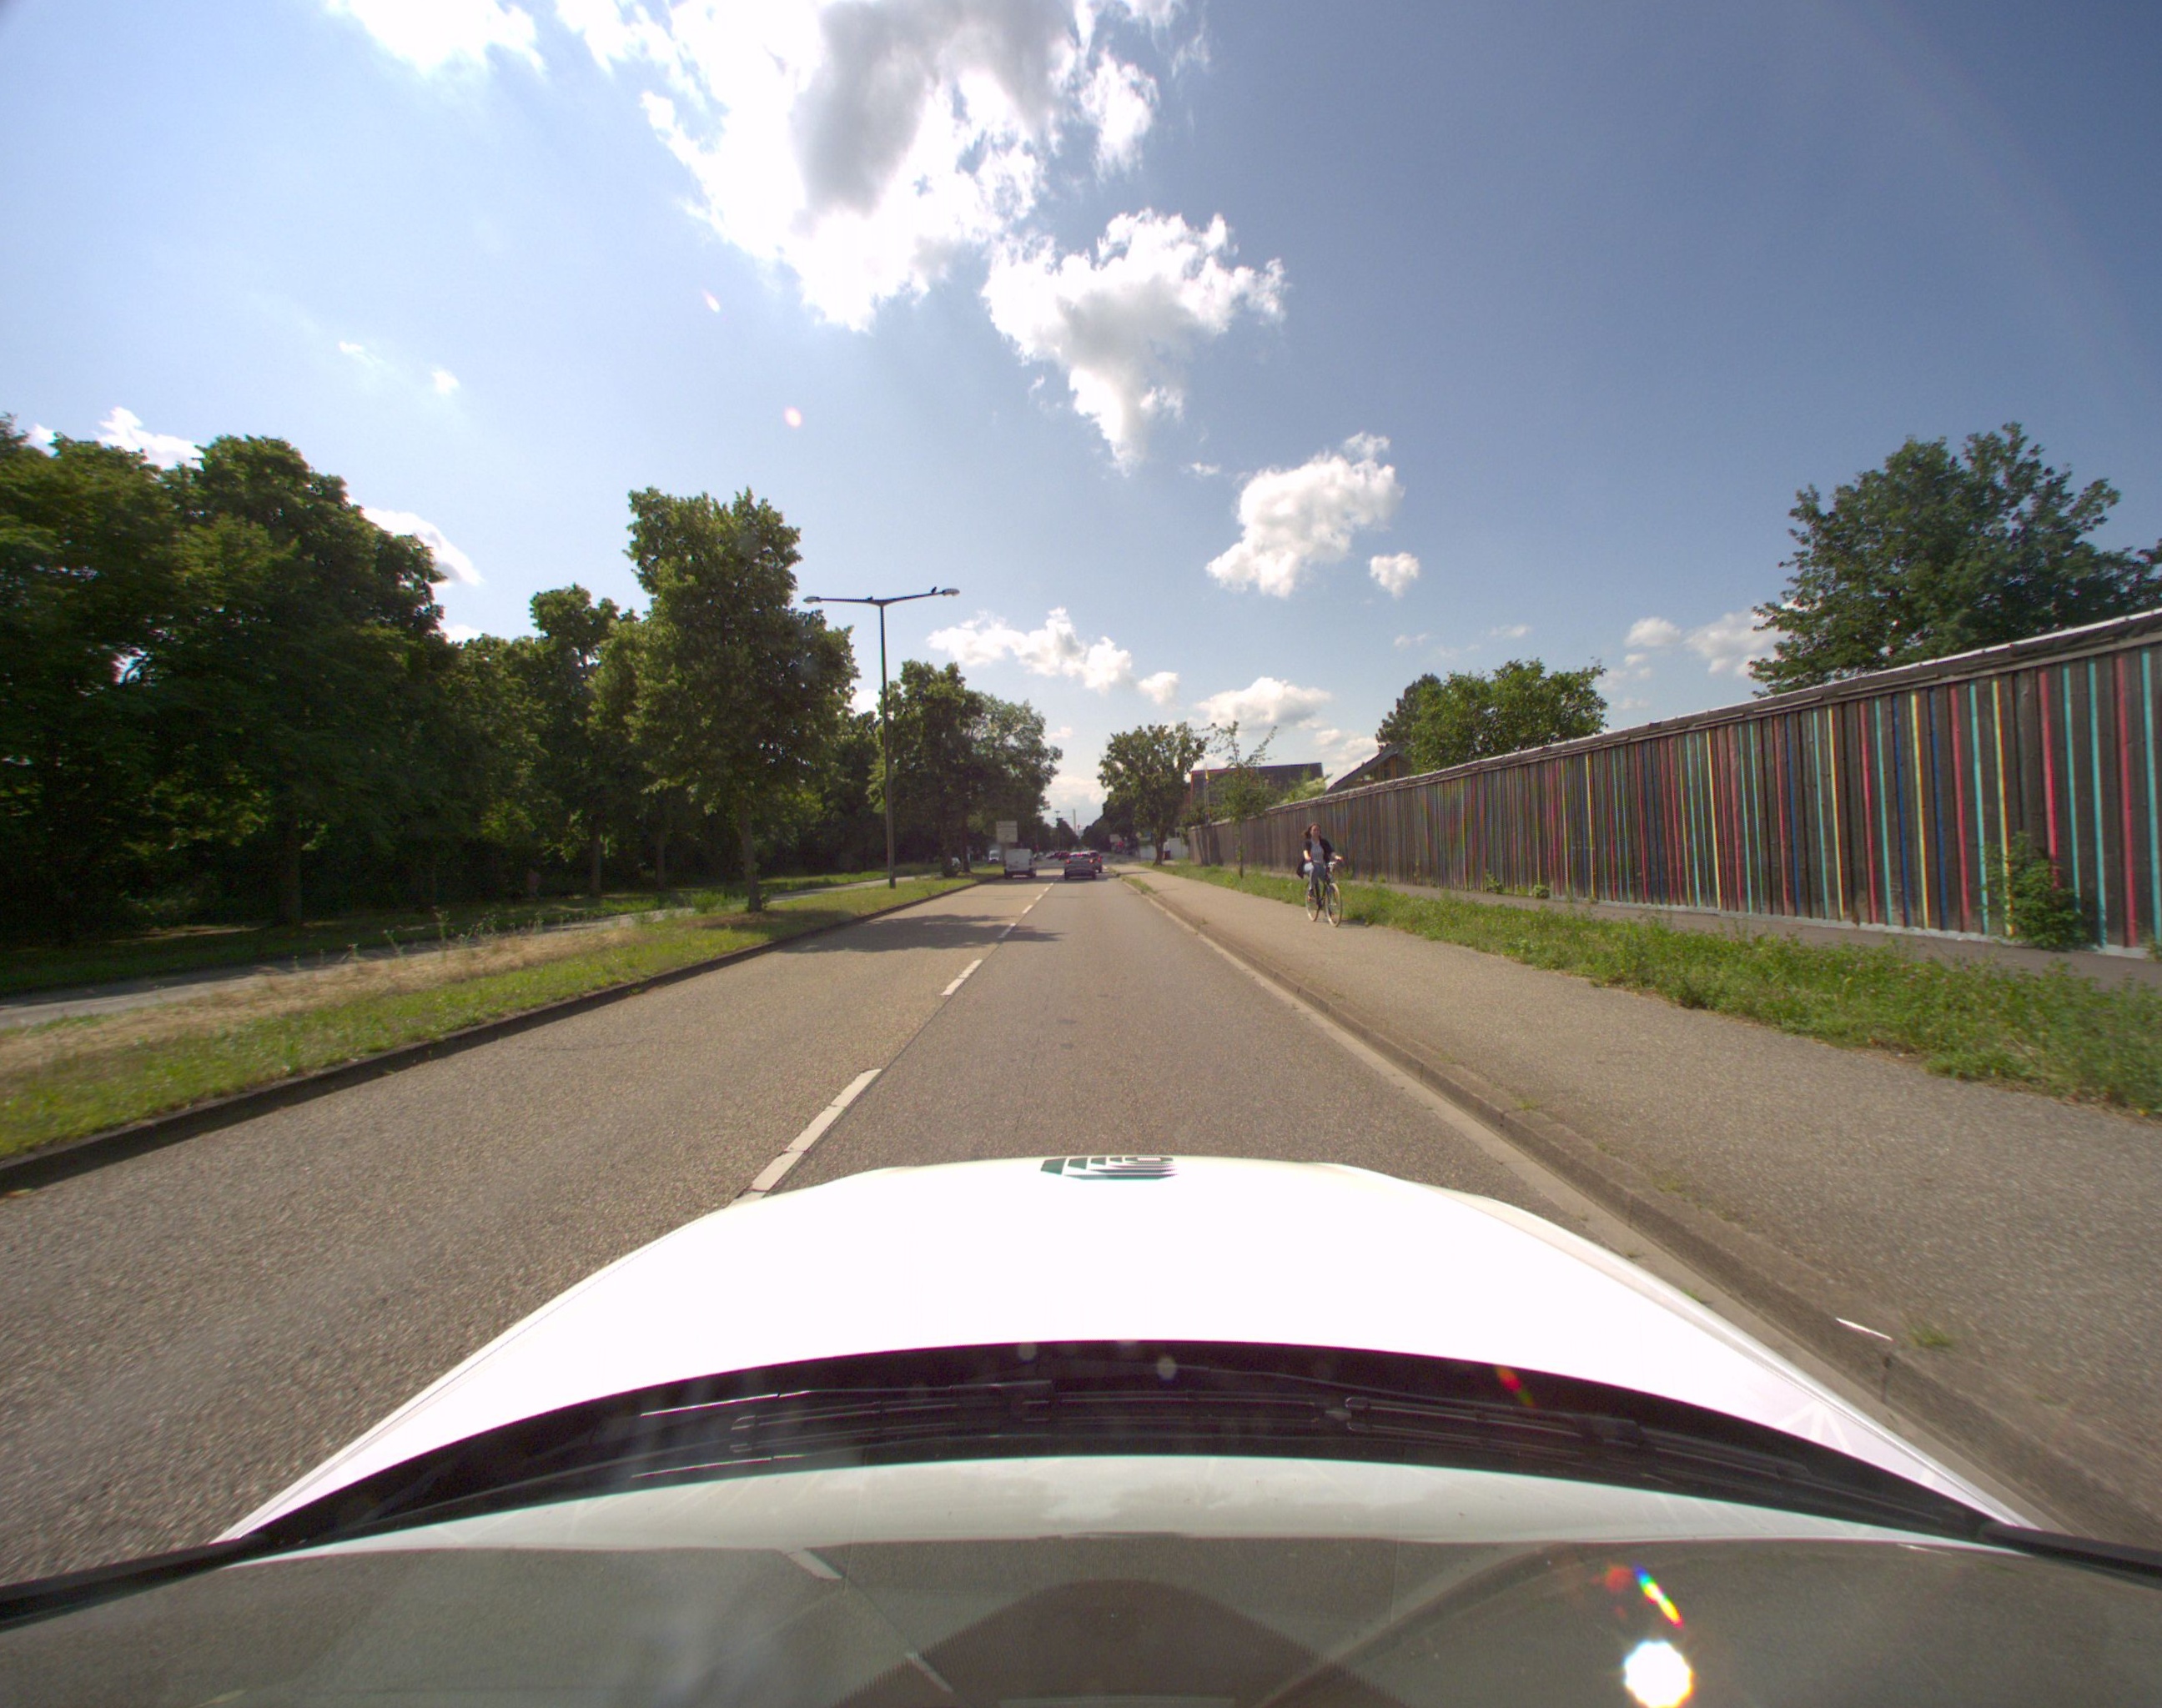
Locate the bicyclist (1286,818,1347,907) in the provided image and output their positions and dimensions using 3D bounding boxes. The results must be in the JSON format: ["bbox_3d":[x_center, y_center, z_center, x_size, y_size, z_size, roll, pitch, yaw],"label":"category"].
[{"bbox_3d":[4.005,0.139,13.905,0.652,1.412,0.986,-5,0,1],"label":"bicyclist"}]

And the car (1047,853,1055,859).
[{"bbox_3d":[-8.053,0.587,218.855,1.886,1.588,4.109,-2,0,0],"label":"car"}]

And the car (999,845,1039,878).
[{"bbox_3d":[-3.828,0.462,51.364,2.059,1.912,4.646,-2,0,0],"label":"car"}]

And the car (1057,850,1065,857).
[{"bbox_3d":[-5.083,-0.085,209.148,1.773,1.767,4.151,-2,0,0],"label":"car"}]

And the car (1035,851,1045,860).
[{"bbox_3d":[-8.767,0.318,174.532,1.773,1.767,4.125,-2,0,0],"label":"car"}]

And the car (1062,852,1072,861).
[{"bbox_3d":[-2.840,0.495,166.136,1.773,1.767,4.169,-2,0,0],"label":"car"}]

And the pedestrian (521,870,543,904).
[{"bbox_3d":[-27.177,1.614,40.324,0.642,1.630,0.656,-1,0,1],"label":"pedestrian"}]

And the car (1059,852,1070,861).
[{"bbox_3d":[-3.119,0.454,155.749,1.934,1.767,4.146,-2,0,0],"label":"car"}]

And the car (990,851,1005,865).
[{"bbox_3d":[-15.161,0.626,148.194,2.038,2.431,5.250,-2,0,1],"label":"car"}]

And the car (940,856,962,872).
[{"bbox_3d":[-15.708,1.187,98.592,1.987,1.705,4.193,-2,0,0],"label":"car"}]

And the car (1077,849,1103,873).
[{"bbox_3d":[0.656,0.526,60.813,1.773,1.643,4.196,-2,0,0],"label":"car"}]

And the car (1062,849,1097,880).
[{"bbox_3d":[-0.049,0.557,46.499,1.869,1.589,4.184,-2,0,0],"label":"car"}]

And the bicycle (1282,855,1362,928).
[{"bbox_3d":[4.041,0.589,13.836,0.644,1.067,2.279,-5,0,1],"label":"bicycle"}]
